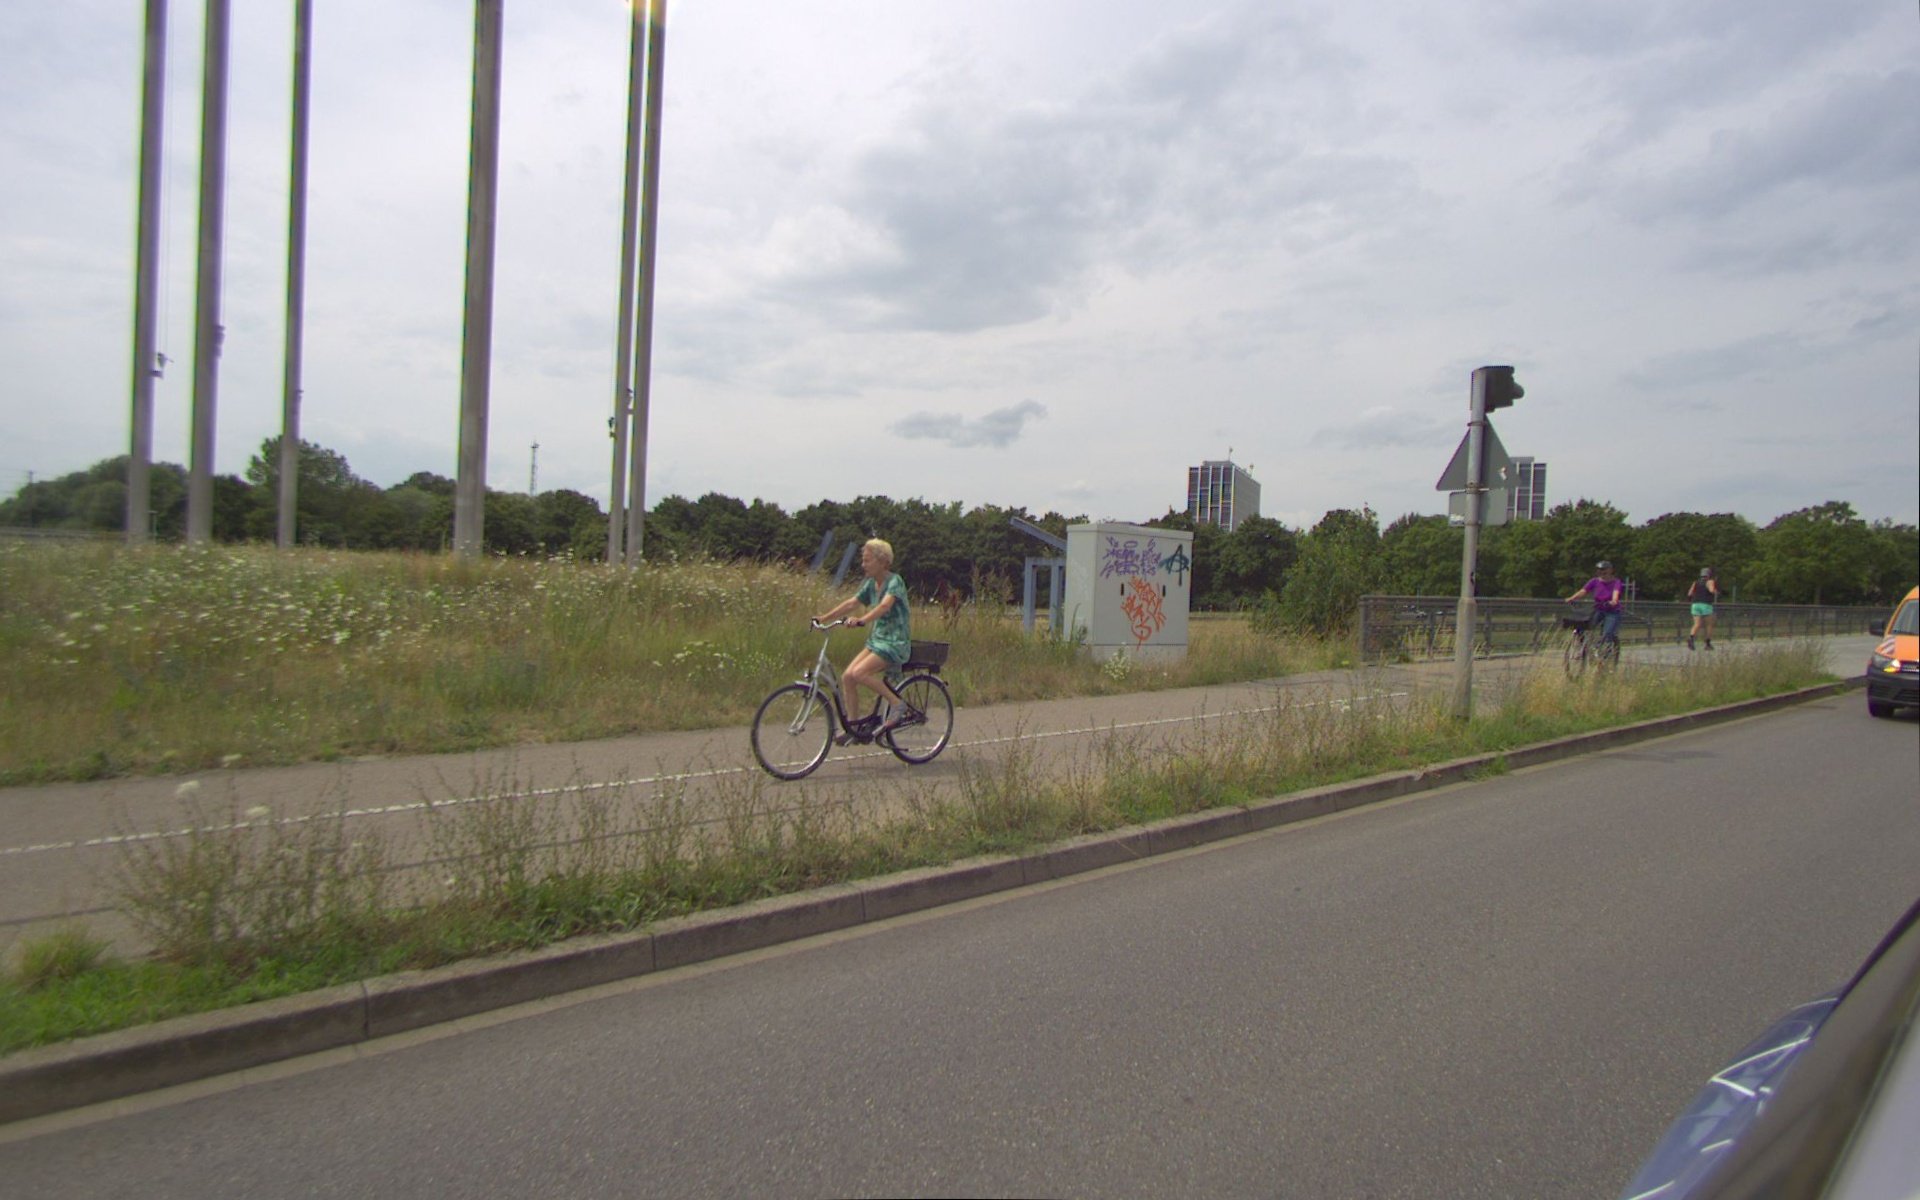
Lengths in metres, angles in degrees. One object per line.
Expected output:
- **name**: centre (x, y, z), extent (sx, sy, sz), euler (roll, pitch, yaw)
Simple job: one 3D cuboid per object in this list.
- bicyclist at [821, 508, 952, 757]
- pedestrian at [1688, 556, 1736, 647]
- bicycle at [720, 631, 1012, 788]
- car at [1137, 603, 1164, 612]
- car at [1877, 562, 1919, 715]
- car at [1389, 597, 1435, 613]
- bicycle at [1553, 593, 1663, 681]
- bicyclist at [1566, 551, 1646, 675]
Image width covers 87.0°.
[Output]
- **bicyclist**: centre (-0.531, 0.215, 7.312), extent (0.657, 1.687, 0.623), euler (2, 0, -41)
- **pedestrian**: centre (17.449, 0.032, 23.480), extent (0.656, 2.038, 0.629), euler (2, 2, -39)
- **bicycle**: centre (-0.610, 0.713, 7.261), extent (2.117, 0.899, 0.624), euler (0, 2, -41)
- **car**: centre (28.863, 1.158, 153.204), extent (3.648, 1.288, 1.663), euler (1, 0, 27)
- **car**: centre (13.737, 0.517, 13.336), extent (4.351, 1.859, 1.891), euler (1, 0, -40)
- **car**: centre (56.581, 0.628, 126.811), extent (4.880, 1.825, 1.971), euler (3, 1, 40)
- **bicycle**: centre (9.730, 0.522, 15.144), extent (2.418, 1.207, 0.695), euler (1, 2, -41)
- **bicyclist**: centre (9.633, 0.183, 15.086), extent (0.974, 1.777, 0.704), euler (1, 1, -41)
